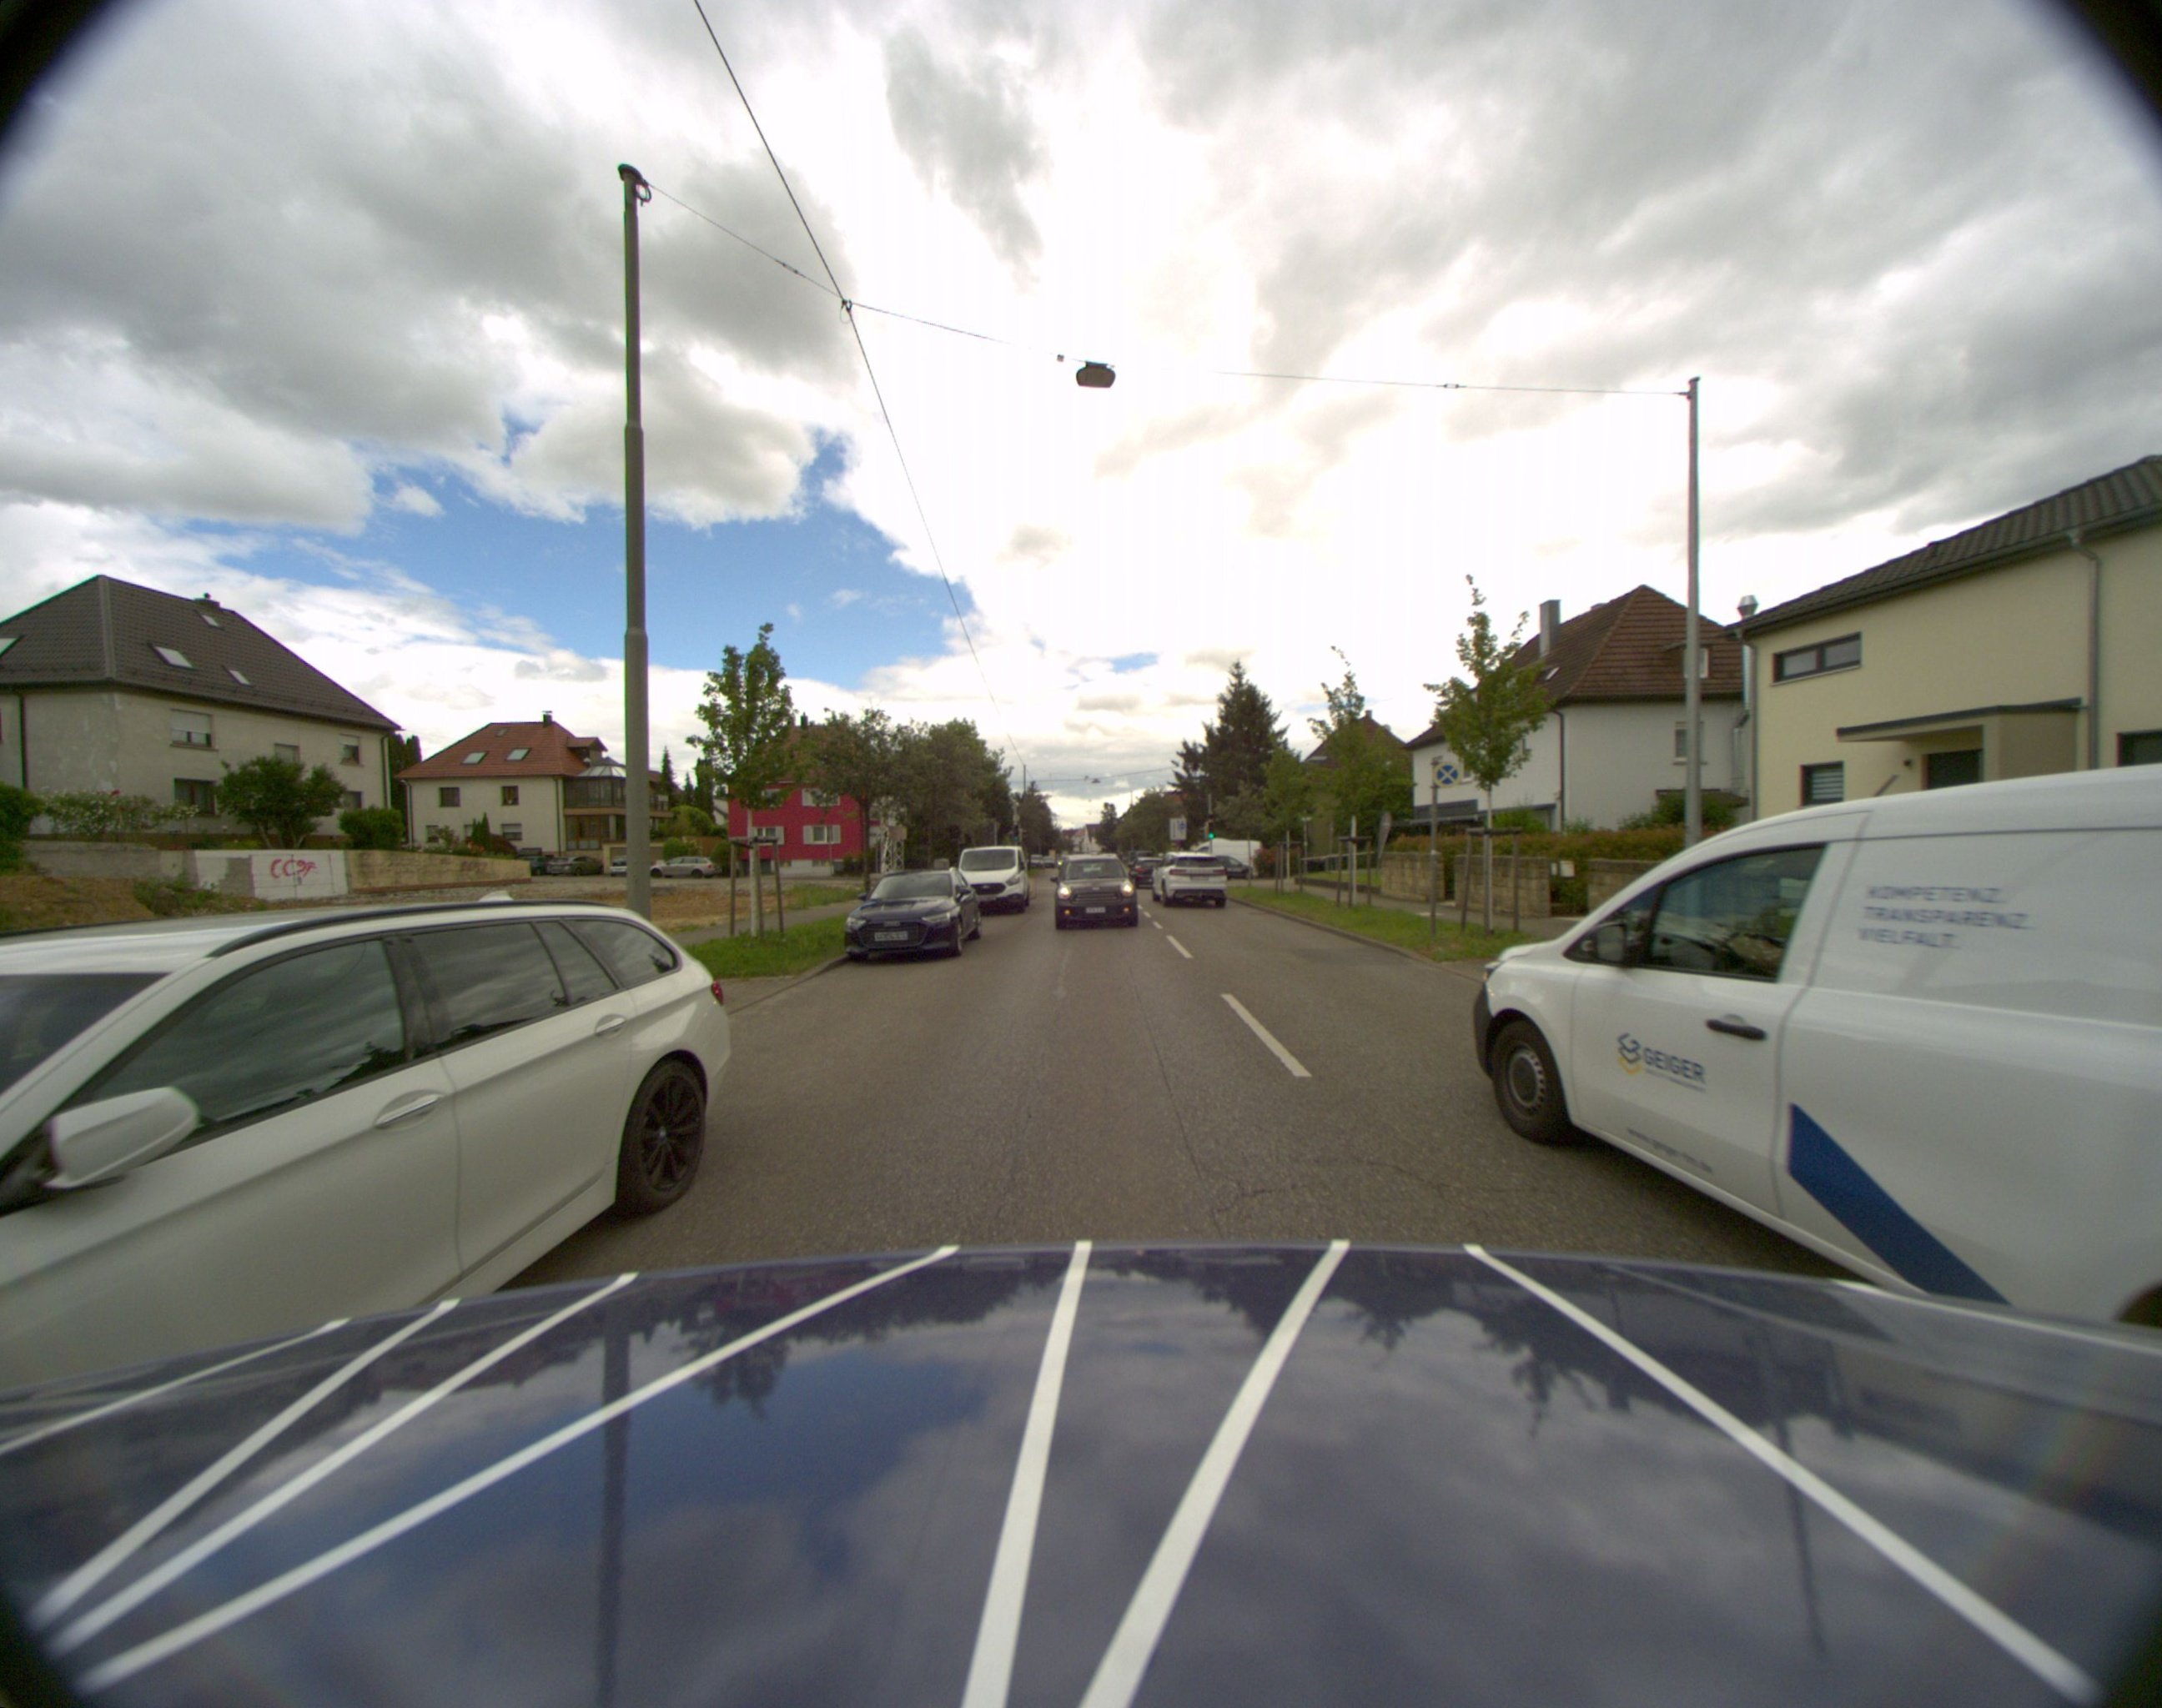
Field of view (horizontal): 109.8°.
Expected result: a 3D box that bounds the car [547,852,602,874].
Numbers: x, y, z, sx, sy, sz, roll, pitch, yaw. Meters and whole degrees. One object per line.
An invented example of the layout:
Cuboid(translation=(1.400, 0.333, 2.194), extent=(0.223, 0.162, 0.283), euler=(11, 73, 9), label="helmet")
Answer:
Cuboid(translation=(-36.483, 0.643, 54.810), extent=(1.622, 1.459, 3.501), euler=(-3, 1, -1), label="car")

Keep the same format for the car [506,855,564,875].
Cuboid(translation=(-39.292, 0.761, 54.772), extent=(1.622, 1.316, 3.501), euler=(-3, 1, -1), label="car")

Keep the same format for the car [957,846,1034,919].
Cuboid(translation=(-2.490, 0.777, 23.209), extent=(1.779, 1.932, 4.788), euler=(-2, 0, -1), label="car")

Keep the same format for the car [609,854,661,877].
Cuboid(translation=(-31.945, 0.809, 54.506), extent=(1.622, 1.531, 3.501), euler=(-3, 1, -1), label="car")

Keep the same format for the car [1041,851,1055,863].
Cuboid(translation=(-4.424, 0.432, 102.961), extent=(1.728, 1.582, 4.156), euler=(0, 0, -1), label="car")

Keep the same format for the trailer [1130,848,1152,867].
Cuboid(translation=(6.859, 0.336, 86.969), extent=(2.160, 2.076, 4.425), euler=(-1, 0, 0), label="trailer")

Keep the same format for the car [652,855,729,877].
Cuboid(translation=(-26.040, 0.816, 50.781), extent=(4.231, 1.416, 1.760), euler=(0, -1, -2), label="car")

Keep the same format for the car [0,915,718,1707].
Cuboid(translation=(-2.808, 1.087, 1.779), extent=(1.697, 1.445, 4.404), euler=(-3, 0, 0), label="car")

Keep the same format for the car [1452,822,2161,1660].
Cuboid(translation=(3.152, 0.797, 2.506), extent=(1.800, 1.741, 4.298), euler=(0, 0, 1), label="car")

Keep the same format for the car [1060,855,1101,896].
Cuboid(translation=(0.042, 0.844, 31.648), extent=(1.590, 1.598, 3.684), euler=(-1, 0, 1), label="car")

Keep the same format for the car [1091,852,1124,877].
Cuboid(translation=(1.781, 0.718, 52.161), extent=(1.900, 1.615, 3.999), euler=(-1, 0, -2), label="car")

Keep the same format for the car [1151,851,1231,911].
Cuboid(translation=(3.328, 0.764, 23.731), extent=(1.818, 1.683, 4.465), euler=(0, 0, -1), label="car")

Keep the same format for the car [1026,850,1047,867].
Cuboid(translation=(-4.963, 0.514, 85.914), extent=(1.902, 1.826, 4.915), euler=(0, 0, 2), label="car")

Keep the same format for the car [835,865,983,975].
Cuboid(translation=(-2.830, 1.013, 13.426), extent=(1.669, 1.507, 4.220), euler=(-2, 0, -1), label="car")

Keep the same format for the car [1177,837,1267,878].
Cuboid(translation=(9.346, 0.194, 50.436), extent=(5.610, 2.549, 2.133), euler=(1, 2, 18), label="car")

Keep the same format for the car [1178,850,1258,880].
Cuboid(translation=(8.149, 0.617, 45.032), extent=(4.656, 1.611, 1.995), euler=(-1, 0, -37), label="car")

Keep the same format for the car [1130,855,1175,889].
Cuboid(translation=(3.263, 0.792, 35.280), extent=(1.620, 1.463, 3.999), euler=(-1, 0, -1), label="car")

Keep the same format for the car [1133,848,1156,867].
Cuboid(translation=(6.630, 0.374, 79.862), extent=(1.998, 1.938, 4.898), euler=(-1, 0, 0), label="car")

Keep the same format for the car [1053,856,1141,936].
Cuboid(translation=(0.375, 0.856, 17.330), extent=(1.743, 1.573, 3.684), euler=(-2, 0, 1), label="car")
